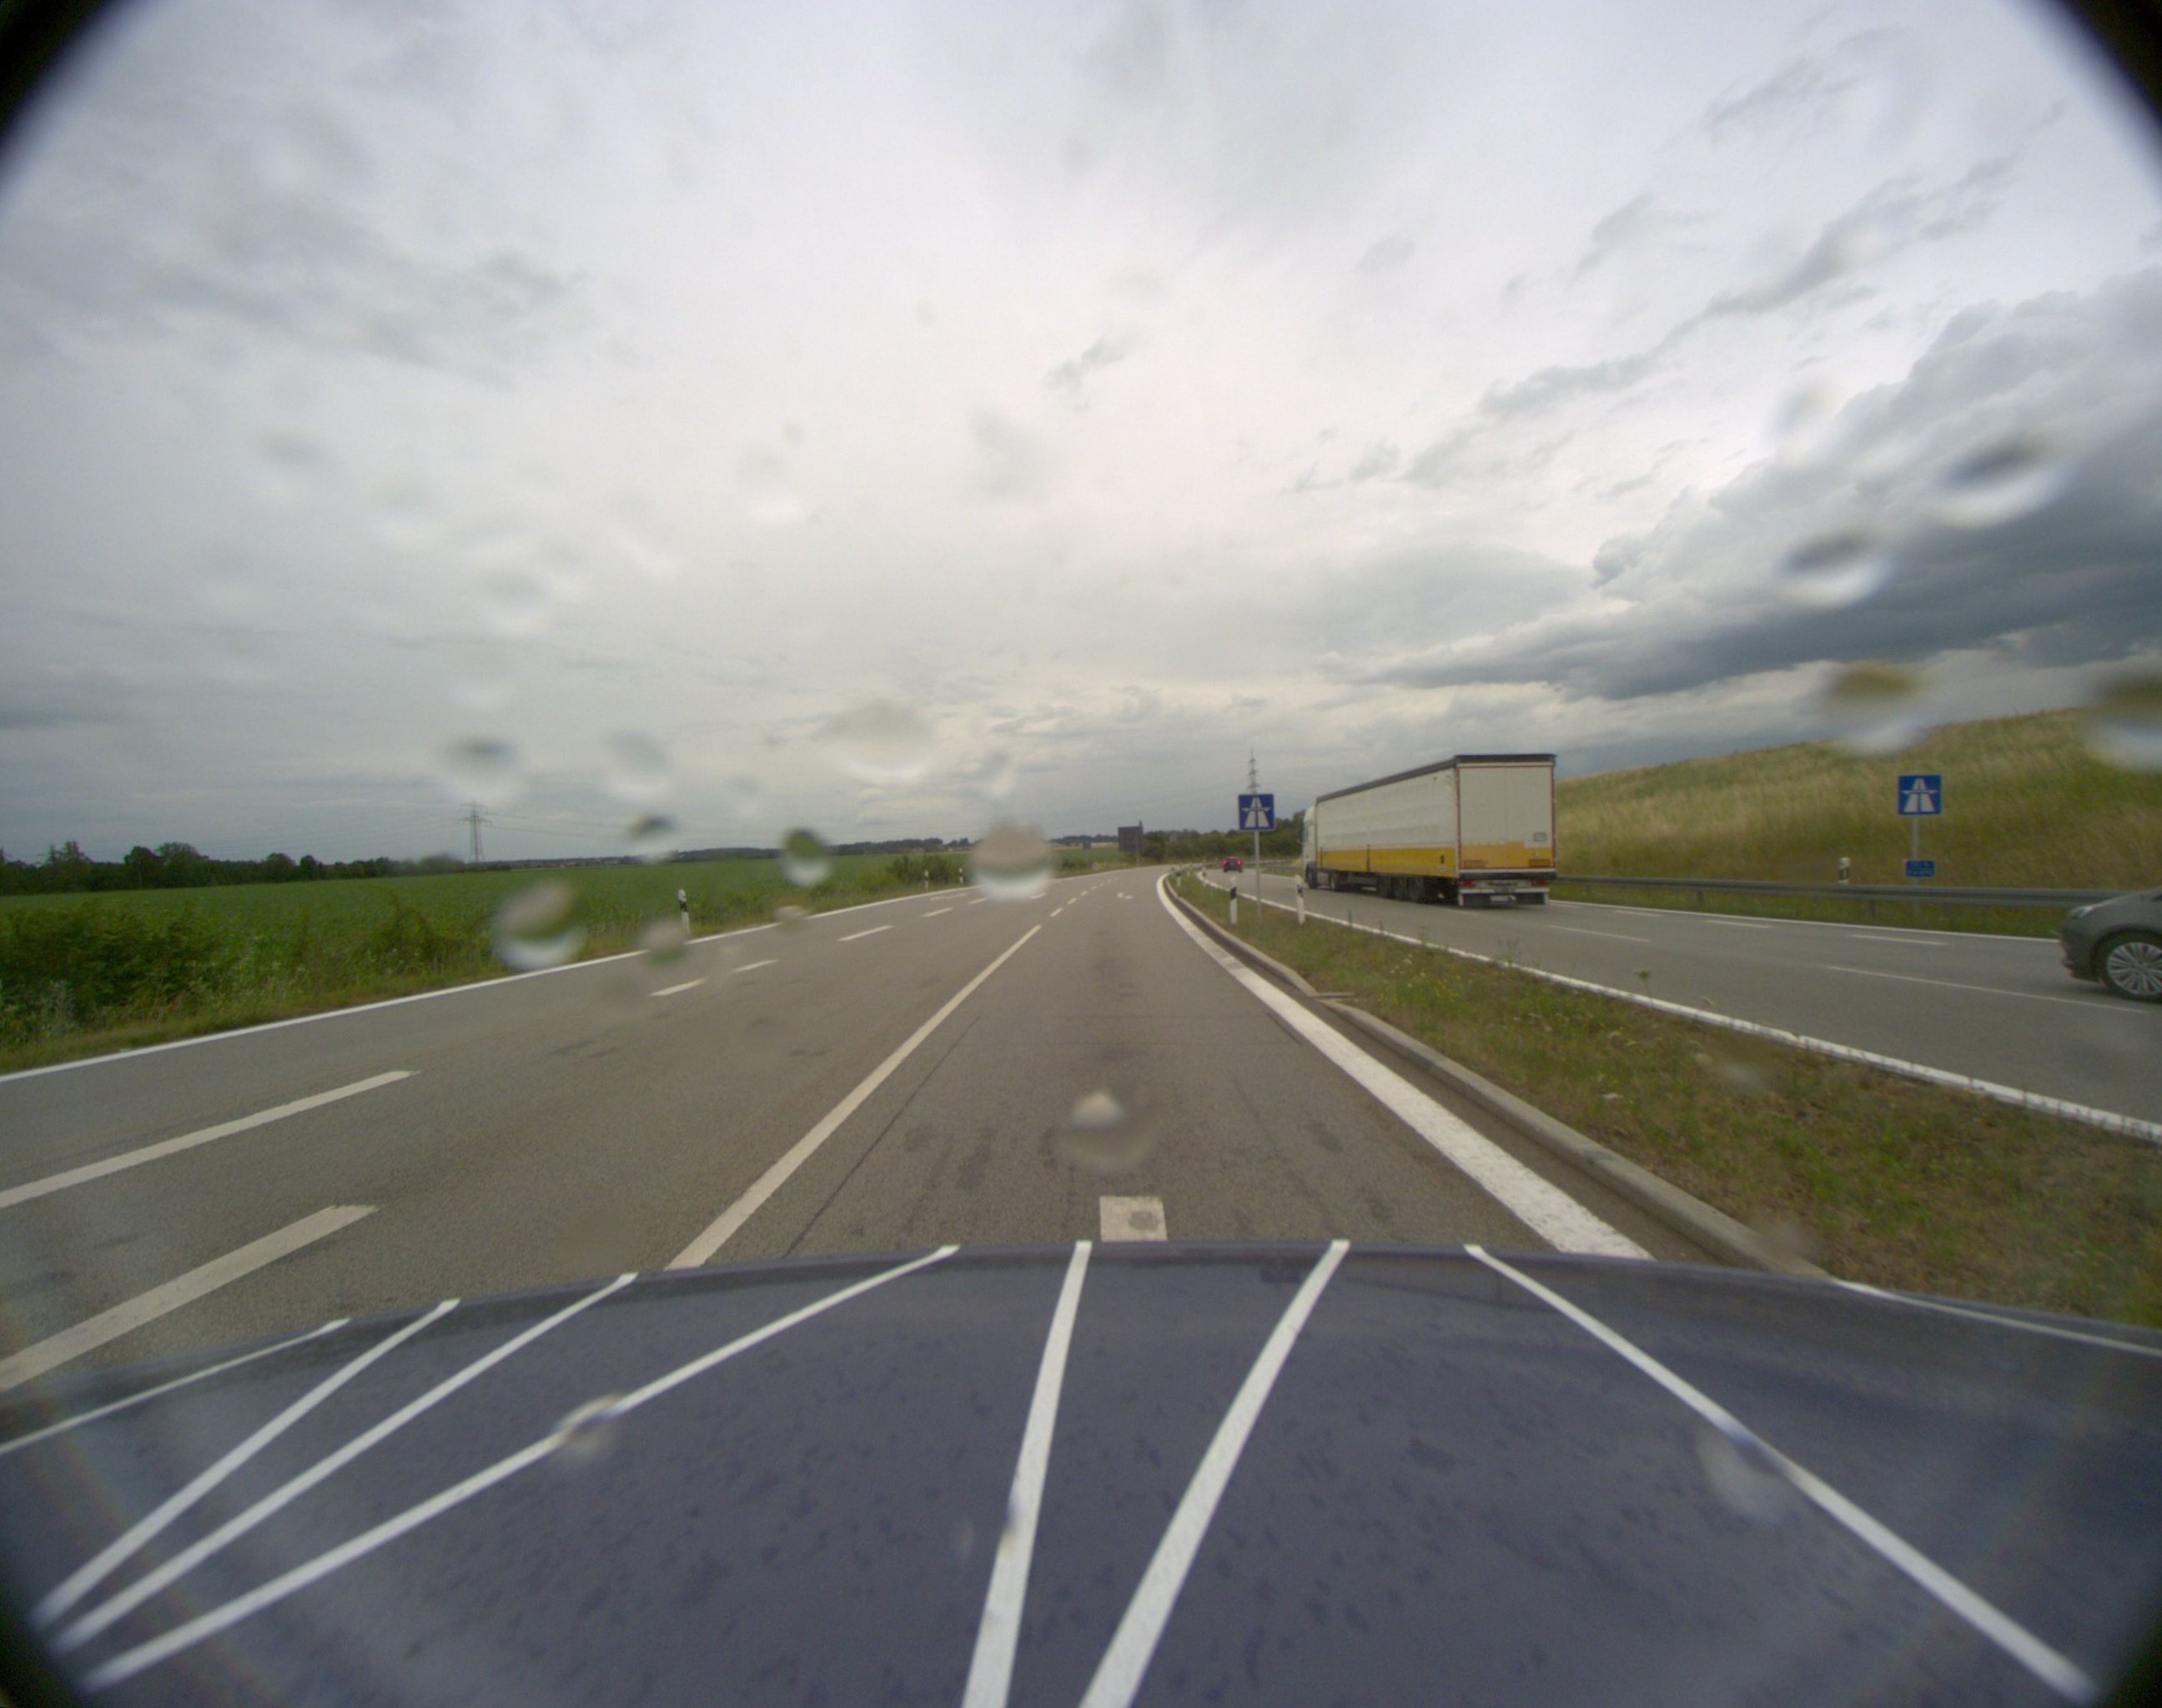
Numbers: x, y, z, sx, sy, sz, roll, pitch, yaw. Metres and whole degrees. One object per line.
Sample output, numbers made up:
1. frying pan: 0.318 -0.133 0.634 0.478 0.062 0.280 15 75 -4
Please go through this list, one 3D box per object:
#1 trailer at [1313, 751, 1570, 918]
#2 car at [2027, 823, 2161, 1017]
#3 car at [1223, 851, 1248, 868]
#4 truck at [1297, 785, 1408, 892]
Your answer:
1. trailer: 11.346 -0.575 26.363 2.698 4.186 13.841 -2 1 2
2. car: 10.498 0.574 5.411 1.998 1.684 4.454 -2 1 1
3. car: 15.974 0.554 78.728 1.998 1.674 4.115 -2 1 6
4. truck: 11.616 -0.654 33.193 2.656 4.117 6.403 -2 1 2
